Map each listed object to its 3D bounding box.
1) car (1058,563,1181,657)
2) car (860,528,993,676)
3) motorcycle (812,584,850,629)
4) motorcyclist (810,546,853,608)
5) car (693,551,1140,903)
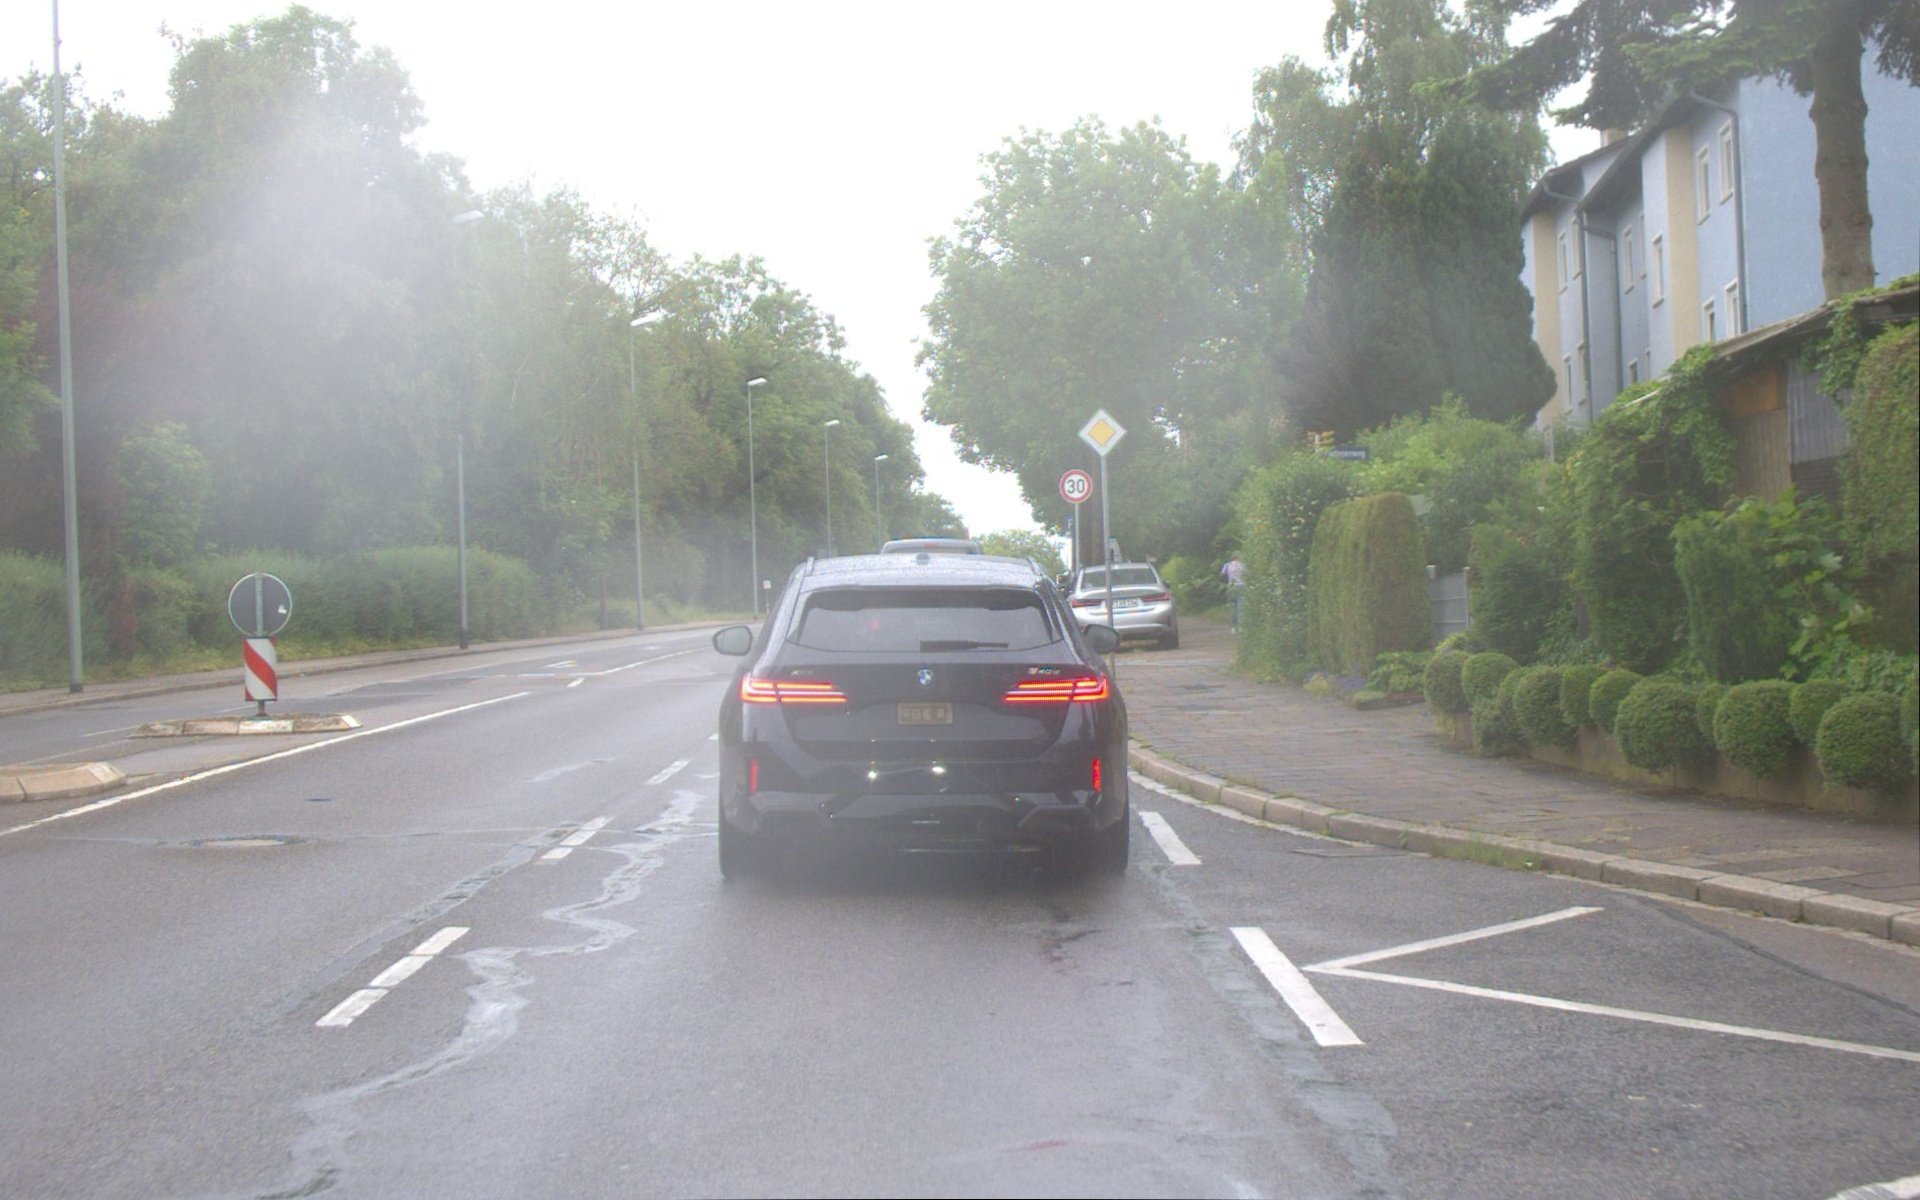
[{"bbox_3d":[2.635,0.135,57.262,1.935,1.437,4.408,-1,1,2],"label":"car"},{"bbox_3d":[-0.452,-0.017,45.777,1.629,1.827,4.000,-2,1,-1],"label":"car"},{"bbox_3d":[-3.268,0.149,87.393,0.876,1.120,2.741,1,0,-1],"label":"motorcycle"},{"bbox_3d":[-3.268,-0.593,87.480,1.039,1.562,0.855,1,0,-1],"label":"motorcyclist"},{"bbox_3d":[-0.171,0.519,16.712,1.897,1.484,4.000,1,1,0],"label":"car"}]
